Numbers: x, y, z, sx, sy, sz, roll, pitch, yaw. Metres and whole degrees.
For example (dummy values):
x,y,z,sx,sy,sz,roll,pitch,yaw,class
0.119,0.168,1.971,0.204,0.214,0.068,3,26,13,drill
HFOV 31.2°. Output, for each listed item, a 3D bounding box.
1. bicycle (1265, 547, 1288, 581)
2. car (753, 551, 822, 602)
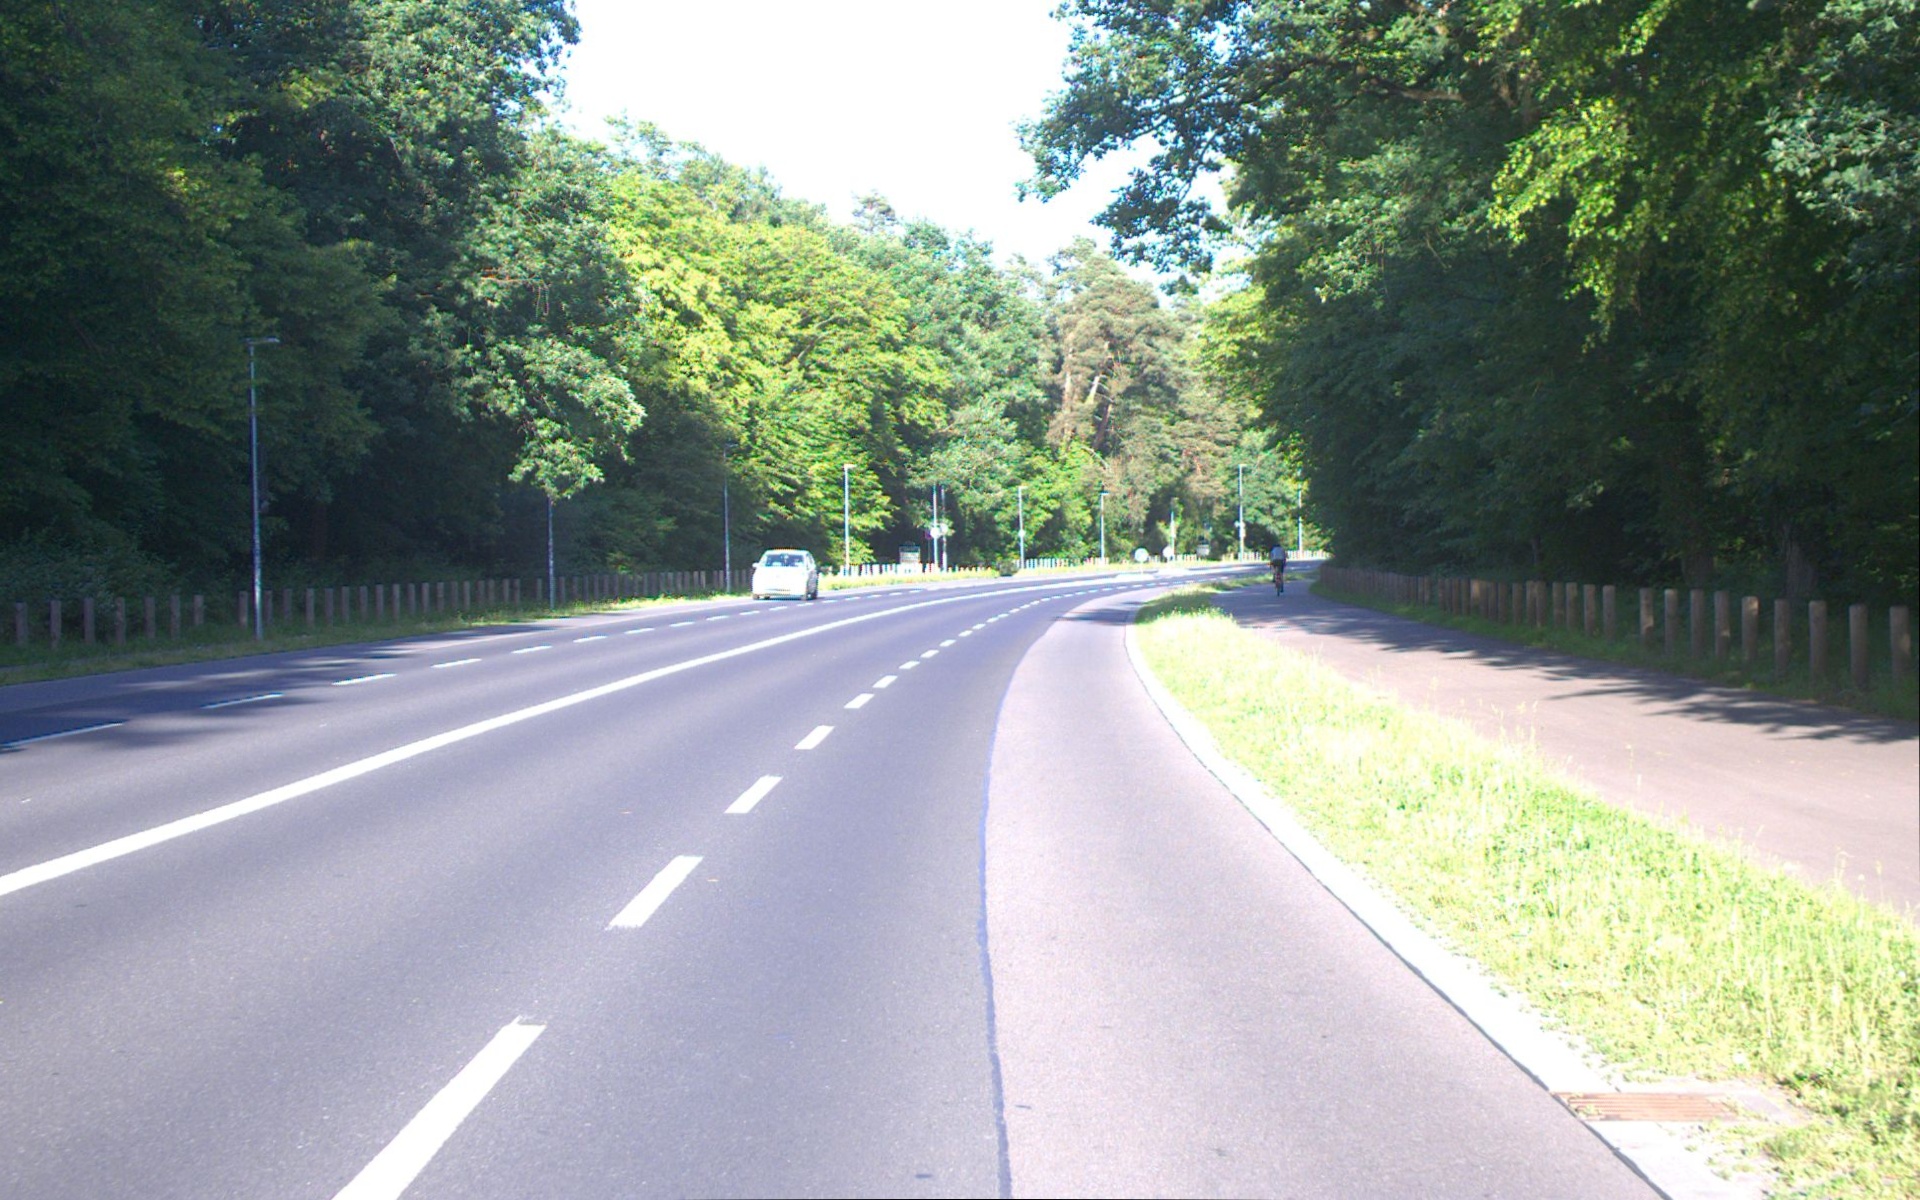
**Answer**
x,y,z,sx,sy,sz,roll,pitch,yaw,class
9.997,-1.154,108.641,0.712,1.052,2.053,0,1,4,bicycle
-5.127,-0.717,102.403,1.587,1.432,4.308,2,1,3,car
